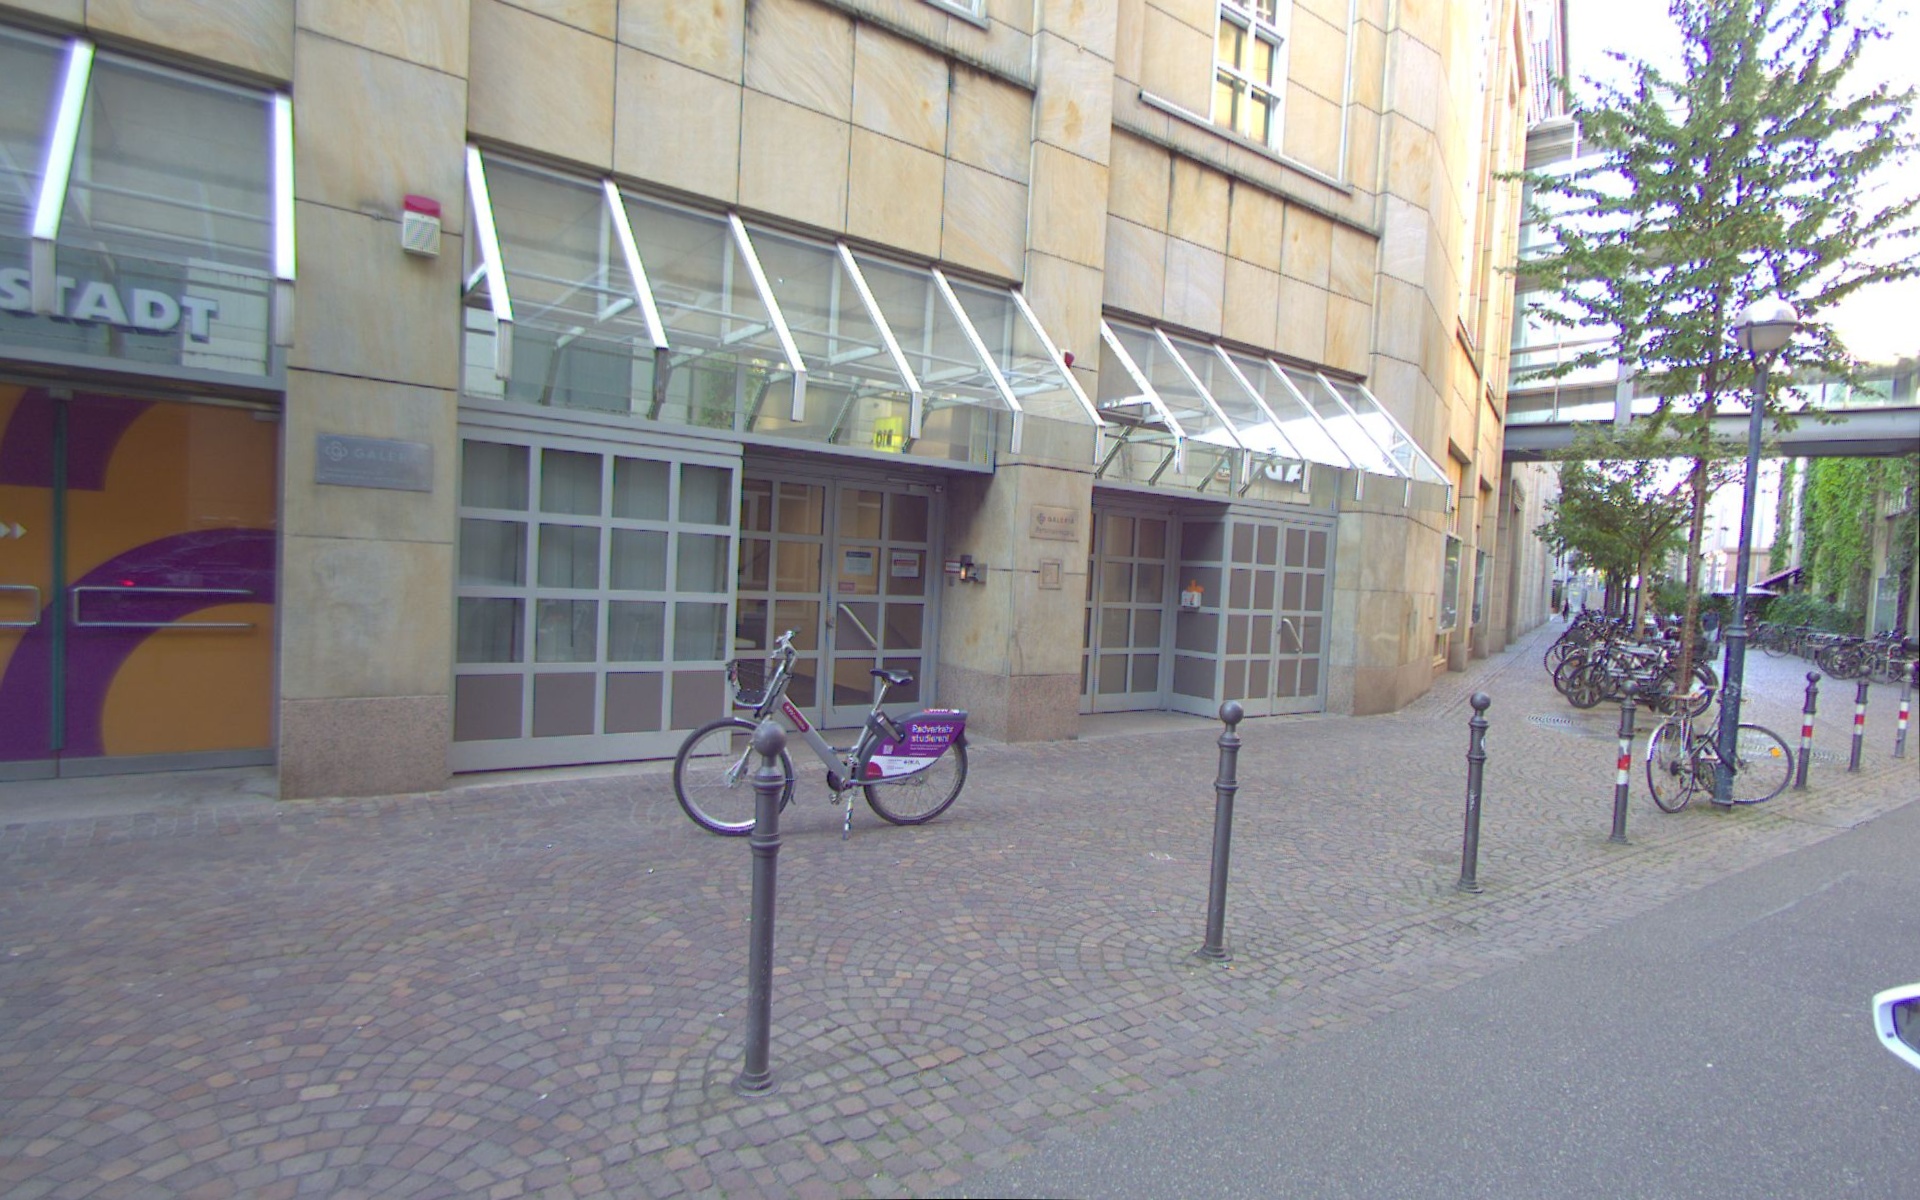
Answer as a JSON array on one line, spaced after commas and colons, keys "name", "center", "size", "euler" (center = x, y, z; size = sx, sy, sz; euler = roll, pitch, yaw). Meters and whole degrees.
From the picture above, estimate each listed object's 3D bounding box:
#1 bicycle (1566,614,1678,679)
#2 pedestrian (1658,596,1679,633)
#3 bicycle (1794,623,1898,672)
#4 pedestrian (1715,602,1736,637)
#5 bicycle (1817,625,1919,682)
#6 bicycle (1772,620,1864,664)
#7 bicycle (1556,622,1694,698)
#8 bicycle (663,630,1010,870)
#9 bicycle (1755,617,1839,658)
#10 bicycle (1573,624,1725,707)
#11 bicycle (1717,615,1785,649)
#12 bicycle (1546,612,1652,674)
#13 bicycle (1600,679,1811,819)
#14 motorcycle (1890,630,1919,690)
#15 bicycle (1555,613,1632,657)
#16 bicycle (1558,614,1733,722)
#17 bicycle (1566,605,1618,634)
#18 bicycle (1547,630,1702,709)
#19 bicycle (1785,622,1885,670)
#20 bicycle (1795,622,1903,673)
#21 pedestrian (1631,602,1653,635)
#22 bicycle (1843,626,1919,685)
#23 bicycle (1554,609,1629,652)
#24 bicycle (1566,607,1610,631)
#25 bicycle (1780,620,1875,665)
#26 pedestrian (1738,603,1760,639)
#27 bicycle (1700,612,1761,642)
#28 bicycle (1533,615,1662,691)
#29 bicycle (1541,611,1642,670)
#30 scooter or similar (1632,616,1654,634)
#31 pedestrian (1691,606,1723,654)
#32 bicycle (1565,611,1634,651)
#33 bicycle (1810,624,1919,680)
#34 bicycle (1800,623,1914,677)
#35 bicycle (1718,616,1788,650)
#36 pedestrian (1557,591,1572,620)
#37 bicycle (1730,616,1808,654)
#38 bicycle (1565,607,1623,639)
[{"name": "bicycle", "center": [14.005, 0.954, 21.286], "size": [1.889, 1.198, 0.693], "euler": [4, 2, 37]}, {"name": "pedestrian", "center": [36.235, 0.735, 51.393], "size": [0.754, 1.828, 0.775], "euler": [3, 2, 32]}, {"name": "bicycle", "center": [23.569, 1.245, 26.761], "size": [1.967, 1.198, 0.692], "euler": [2, 1, 35]}, {"name": "pedestrian", "center": [40.524, 1.028, 53.191], "size": [0.763, 1.828, 0.765], "euler": [3, 2, 33]}, {"name": "bicycle", "center": [20.903, 1.206, 22.900], "size": [1.967, 1.198, 0.694], "euler": [2, 1, 35]}, {"name": "bicycle", "center": [25.349, 1.219, 29.710], "size": [1.967, 1.198, 0.692], "euler": [2, 1, 35]}, {"name": "bicycle", "center": [11.350, 0.997, 17.175], "size": [1.889, 1.116, 0.693], "euler": [4, 2, 37]}, {"name": "bicycle", "center": [-0.682, 0.765, 5.526], "size": [1.750, 1.127, 0.692], "euler": [2, 2, -22]}, {"name": "bicycle", "center": [26.608, 1.175, 31.969], "size": [1.967, 1.198, 0.692], "euler": [2, 1, 35]}, {"name": "bicycle", "center": [10.835, 0.999, 15.874], "size": [1.887, 1.116, 0.694], "euler": [4, 2, 34]}, {"name": "bicycle", "center": [30.042, 1.202, 38.192], "size": [1.967, 1.198, 0.692], "euler": [2, 1, 35]}, {"name": "bicycle", "center": [14.178, 0.932, 22.303], "size": [1.889, 1.198, 0.693], "euler": [4, 2, 37]}, {"name": "bicycle", "center": [5.920, 1.144, 7.963], "size": [1.670, 0.979, 0.504], "euler": [2, 2, -22]}, {"name": "motorcycle", "center": [19.827, 1.232, 20.089], "size": [1.724, 1.171, 0.592], "euler": [2, 1, 37]}, {"name": "bicycle", "center": [19.493, 1.050, 30.936], "size": [1.889, 1.198, 0.693], "euler": [4, 2, 37]}, {"name": "bicycle", "center": [9.419, 0.897, 13.885], "size": [1.887, 1.278, 0.806], "euler": [4, 2, 34]}, {"name": "bicycle", "center": [28.323, 0.868, 45.028], "size": [1.889, 1.198, 0.693], "euler": [4, 2, 37]}, {"name": "bicycle", "center": [10.104, 1.027, 15.330], "size": [1.887, 1.007, 0.694], "euler": [4, 2, 34]}, {"name": "bicycle", "center": [24.022, 1.243, 27.632], "size": [1.967, 1.198, 0.692], "euler": [2, 1, 35]}, {"name": "bicycle", "center": [22.938, 1.196, 25.962], "size": [1.967, 1.198, 0.800], "euler": [2, 1, 35]}, {"name": "pedestrian", "center": [35.766, 0.950, 52.693], "size": [0.879, 1.661, 0.909], "euler": [3, 2, 32]}, {"name": "bicycle", "center": [20.594, 1.210, 21.869], "size": [1.967, 1.198, 0.694], "euler": [2, 1, 35]}, {"name": "bicycle", "center": [19.927, 0.949, 31.706], "size": [1.889, 1.198, 0.693], "euler": [4, 2, 37]}, {"name": "bicycle", "center": [33.702, 1.011, 53.886], "size": [1.889, 1.198, 0.693], "euler": [4, 2, 37]}, {"name": "bicycle", "center": [24.758, 1.194, 28.709], "size": [1.967, 1.198, 0.692], "euler": [2, 1, 35]}, {"name": "pedestrian", "center": [41.139, 1.080, 52.394], "size": [0.763, 1.828, 0.765], "euler": [3, 2, 33]}, {"name": "bicycle", "center": [32.506, 1.125, 42.392], "size": [1.967, 1.198, 0.692], "euler": [2, 1, 35]}, {"name": "bicycle", "center": [11.621, 0.937, 18.331], "size": [1.889, 1.198, 0.693], "euler": [4, 2, 37]}, {"name": "bicycle", "center": [14.676, 0.919, 23.382], "size": [1.889, 1.198, 0.693], "euler": [4, 2, 37]}, {"name": "scooter or similar", "center": [35.282, 1.290, 51.905], "size": [0.879, 0.854, 0.909], "euler": [3, 2, 32]}, {"name": "pedestrian", "center": [25.014, 0.995, 33.651], "size": [0.737, 1.529, 0.636], "euler": [3, 2, 32]}, {"name": "bicycle", "center": [21.684, 1.044, 34.080], "size": [1.889, 1.198, 0.693], "euler": [4, 2, 37]}, {"name": "bicycle", "center": [21.404, 1.217, 23.700], "size": [1.967, 1.198, 0.800], "euler": [2, 1, 35]}, {"name": "bicycle", "center": [22.040, 1.212, 24.741], "size": [1.967, 1.198, 0.800], "euler": [2, 1, 35]}, {"name": "bicycle", "center": [29.560, 1.213, 37.487], "size": [1.967, 1.198, 0.692], "euler": [2, 1, 35]}, {"name": "pedestrian", "center": [39.110, 0.381, 65.001], "size": [0.763, 1.828, 0.632], "euler": [3, 2, 33]}, {"name": "bicycle", "center": [27.365, 1.172, 34.004], "size": [1.967, 1.198, 0.692], "euler": [2, 1, 35]}, {"name": "bicycle", "center": [26.077, 0.932, 41.333], "size": [1.889, 1.198, 0.693], "euler": [4, 2, 37]}]
